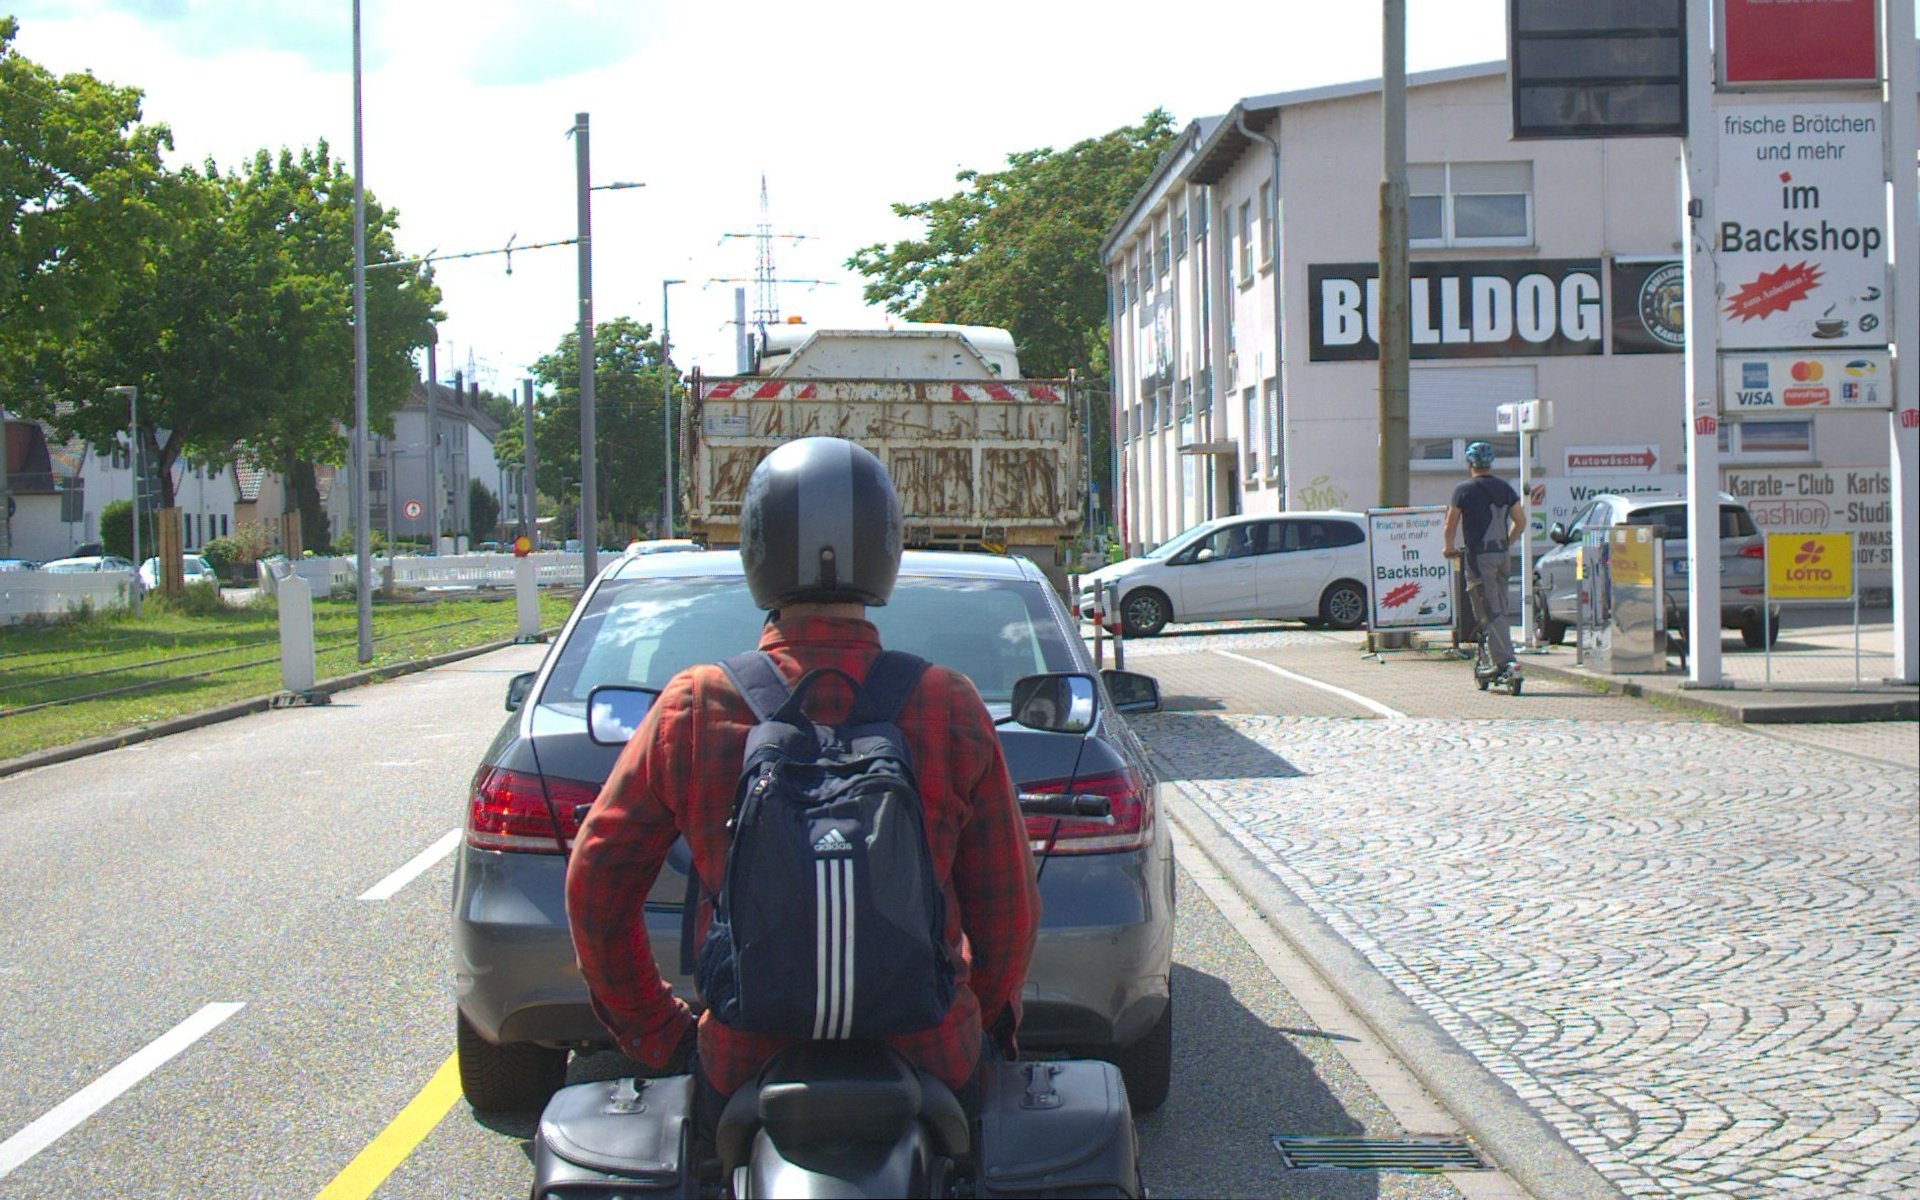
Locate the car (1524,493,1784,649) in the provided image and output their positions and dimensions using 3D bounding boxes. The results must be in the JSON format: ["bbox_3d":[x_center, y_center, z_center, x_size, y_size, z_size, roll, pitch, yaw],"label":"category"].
[{"bbox_3d":[7.324,-0.338,36.644,1.832,1.530,4.010,-1,1,-2],"label":"car"}]

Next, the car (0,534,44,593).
[{"bbox_3d":[-29.265,-1.107,104.588,1.698,1.733,4.062,-1,1,0],"label":"car"}]

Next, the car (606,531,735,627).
[{"bbox_3d":[-4.559,-0.365,54.665,1.715,1.409,4.262,-1,1,-1],"label":"car"}]

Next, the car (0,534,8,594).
[{"bbox_3d":[-28.669,-0.992,98.424,1.698,1.733,4.062,-1,1,0],"label":"car"}]

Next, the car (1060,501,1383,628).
[{"bbox_3d":[3.550,-0.498,47.030,4.104,1.619,1.686,-1,1,-8],"label":"car"}]

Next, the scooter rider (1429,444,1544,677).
[{"bbox_3d":[4.162,-0.313,27.192,0.795,1.812,0.508,-1,1,-1],"label":"scooter rider"}]

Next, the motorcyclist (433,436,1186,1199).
[{"bbox_3d":[-0.207,0.592,5.084,0.969,1.627,1.215,1,1,-1],"label":"motorcyclist"}]

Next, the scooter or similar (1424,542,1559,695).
[{"bbox_3d":[4.176,0.129,27.117,0.795,1.141,1.519,-1,1,-1],"label":"scooter or similar"}]

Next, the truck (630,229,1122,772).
[{"bbox_3d":[-0.635,-0.711,25.468,2.970,3.293,8.408,-1,1,-2],"label":"truck"}]

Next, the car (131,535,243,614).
[{"bbox_3d":[-17.942,-0.620,79.959,1.698,1.733,3.860,-1,1,0],"label":"car"}]

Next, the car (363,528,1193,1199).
[{"bbox_3d":[-0.464,0.557,9.751,1.832,1.474,4.010,-1,1,-2],"label":"car"}]

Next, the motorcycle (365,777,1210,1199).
[{"bbox_3d":[-0.217,0.868,5.207,0.976,1.010,2.432,1,1,-1],"label":"motorcycle"}]

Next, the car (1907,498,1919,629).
[{"bbox_3d":[11.788,-0.398,37.242,1.832,1.474,4.010,-1,1,-2],"label":"car"}]
